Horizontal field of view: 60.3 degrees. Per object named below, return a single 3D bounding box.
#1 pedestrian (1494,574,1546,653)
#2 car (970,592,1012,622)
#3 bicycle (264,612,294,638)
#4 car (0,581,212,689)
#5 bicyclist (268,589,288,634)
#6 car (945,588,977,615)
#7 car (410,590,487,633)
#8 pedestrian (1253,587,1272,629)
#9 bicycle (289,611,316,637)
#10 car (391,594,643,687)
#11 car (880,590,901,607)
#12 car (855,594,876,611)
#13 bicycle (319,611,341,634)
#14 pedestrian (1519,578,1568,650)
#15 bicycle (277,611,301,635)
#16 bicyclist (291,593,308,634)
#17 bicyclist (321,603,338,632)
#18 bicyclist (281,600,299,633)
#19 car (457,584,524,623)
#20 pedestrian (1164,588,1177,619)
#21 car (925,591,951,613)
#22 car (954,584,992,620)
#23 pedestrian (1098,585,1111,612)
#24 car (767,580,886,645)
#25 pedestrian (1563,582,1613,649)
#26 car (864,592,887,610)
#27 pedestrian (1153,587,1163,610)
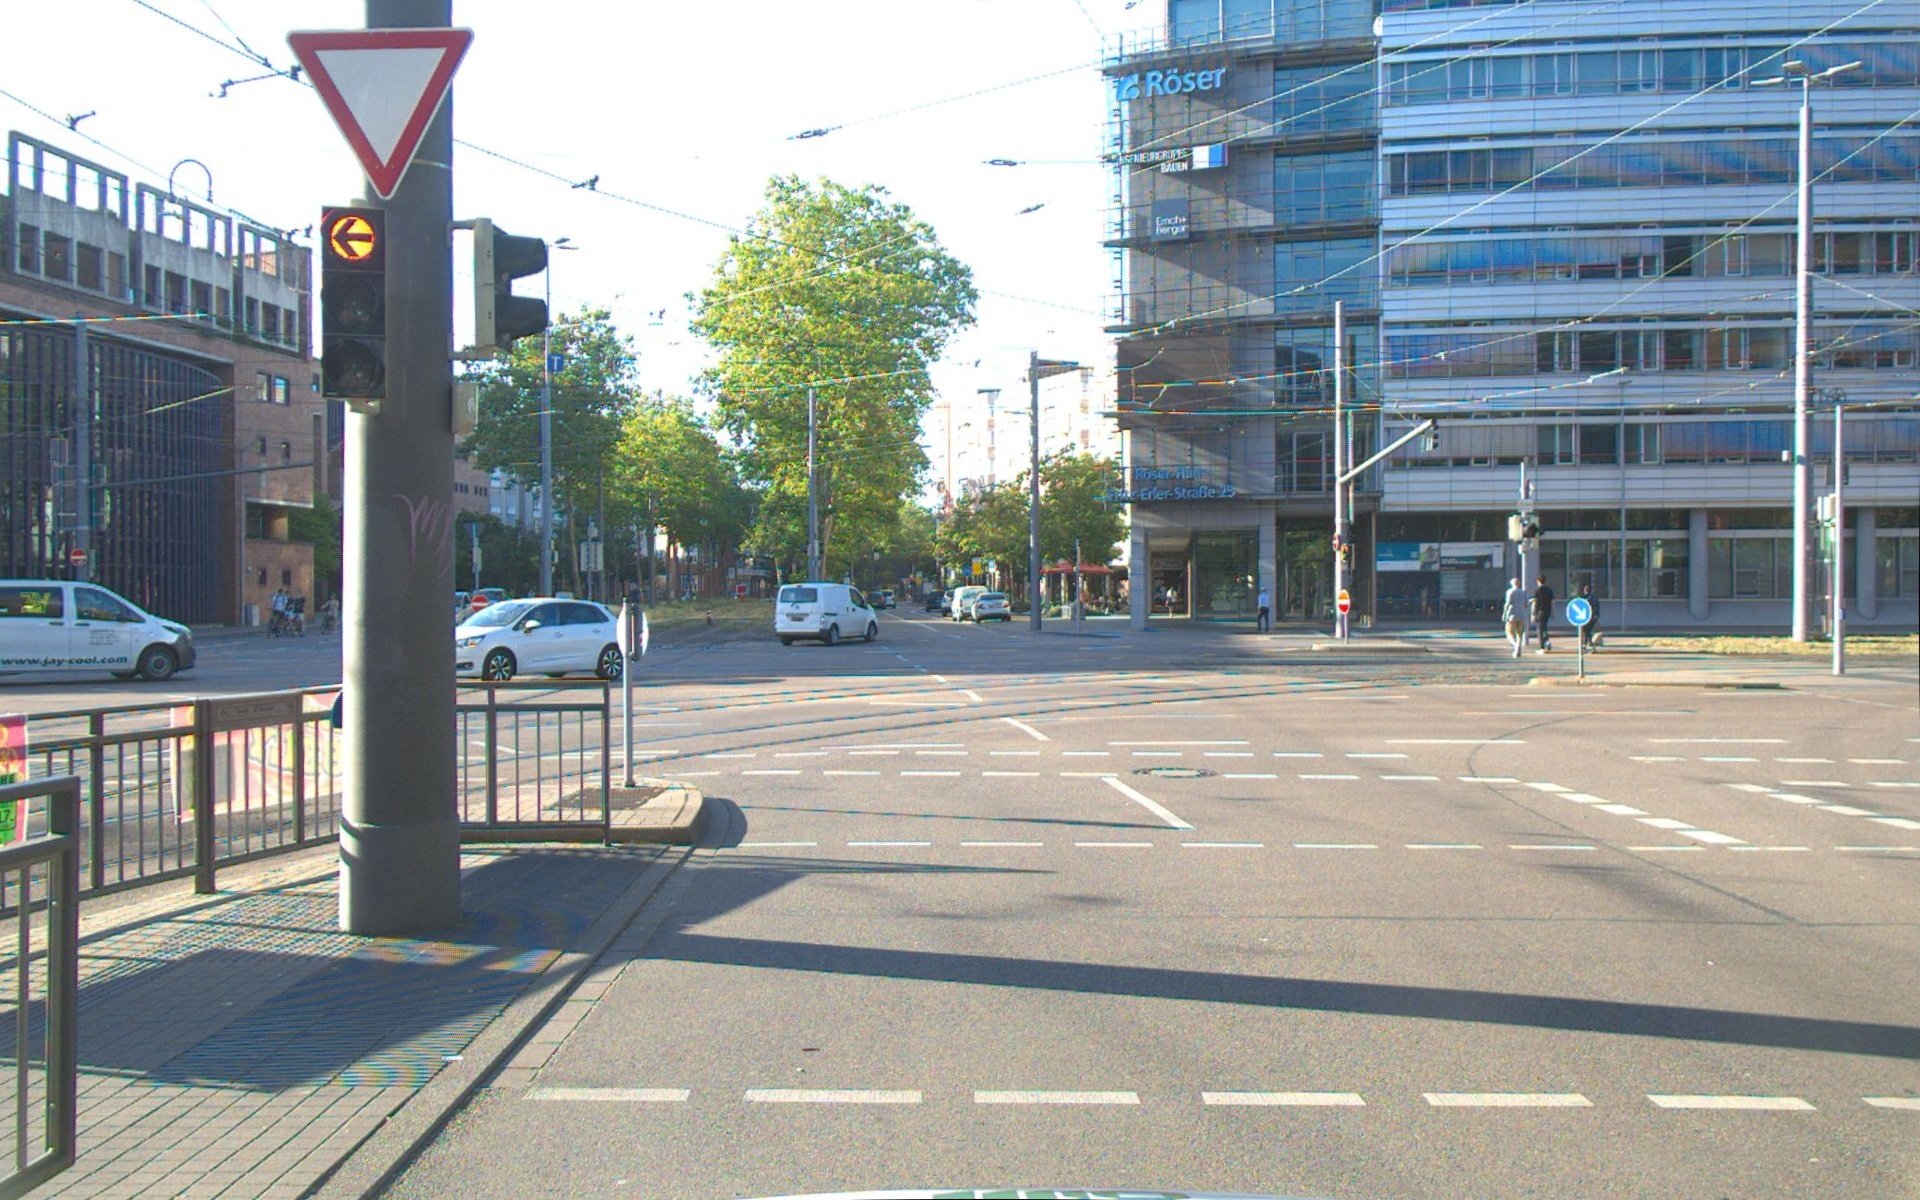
[{"bbox_3d":[13.005,0.305,38.408,0.847,1.820,0.871,-1,0,-5],"label":"pedestrian"},{"bbox_3d":[1.534,0.336,82.790,1.953,1.400,3.999,-1,0,-1],"label":"car"},{"bbox_3d":[-26.830,0.976,65.154,0.531,0.980,1.586,-1,0,-1],"label":"bicycle"},{"bbox_3d":[-16.761,0.606,30.242,1.933,1.881,5.295,-1,0,43],"label":"car"},{"bbox_3d":[-26.847,0.434,65.149,0.525,1.761,0.581,-1,0,-1],"label":"bicyclist"},{"bbox_3d":[0.033,0.070,105.212,1.953,1.646,3.999,-1,0,-1],"label":"car"},{"bbox_3d":[-20.670,0.442,67.036,1.953,1.668,3.999,-1,0,-2],"label":"car"},{"bbox_3d":[11.256,0.305,61.498,0.599,1.534,0.579,-1,0,0],"label":"pedestrian"},{"bbox_3d":[-25.965,0.945,65.358,0.463,0.980,1.575,-1,0,-1],"label":"bicycle"},{"bbox_3d":[-7.883,0.672,29.807,1.725,1.514,4.294,-1,0,35],"label":"car"},{"bbox_3d":[-6.326,-0.163,150.611,1.761,1.467,3.999,-1,0,-1],"label":"car"},{"bbox_3d":[-8.388,0.191,146.793,1.762,1.467,3.998,1,0,-3],"label":"car"},{"bbox_3d":[-27.096,0.966,71.106,0.442,0.980,1.347,-1,0,-1],"label":"bicycle"},{"bbox_3d":[14.187,0.329,40.216,0.893,1.714,1.036,-1,0,6],"label":"pedestrian"},{"bbox_3d":[-27.664,0.937,68.233,0.458,0.980,1.320,-1,0,-1],"label":"bicycle"},{"bbox_3d":[-26.122,0.525,65.394,0.449,1.631,0.581,-1,0,-1],"label":"bicyclist"},{"bbox_3d":[-27.099,0.751,71.116,0.495,1.199,0.581,-1,0,-1],"label":"bicyclist"},{"bbox_3d":[-27.680,0.670,68.377,0.495,1.327,0.581,-1,0,-1],"label":"bicyclist"},{"bbox_3d":[-21.123,0.142,74.595,1.953,1.668,3.999,-1,0,-2],"label":"car"},{"bbox_3d":[10.445,0.172,82.159,0.599,1.534,0.579,-1,0,7],"label":"pedestrian"},{"bbox_3d":[-1.683,0.130,126.635,1.953,1.646,3.999,-1,0,-1],"label":"car"},{"bbox_3d":[0.685,0.116,89.575,1.953,1.892,3.999,-1,0,-1],"label":"car"},{"bbox_3d":[9.202,-0.096,105.130,0.729,1.744,0.612,-1,0,-1],"label":"pedestrian"},{"bbox_3d":[-4.060,0.359,51.035,1.720,1.899,4.523,-1,0,24],"label":"car"},{"bbox_3d":[15.226,0.363,40.109,0.928,1.591,0.897,-1,0,6],"label":"pedestrian"},{"bbox_3d":[-7.036,0.047,137.843,1.761,1.467,3.999,-1,0,-1],"label":"car"},{"bbox_3d":[15.509,-0.123,129.628,0.729,1.744,0.612,-1,0,-1],"label":"pedestrian"}]
